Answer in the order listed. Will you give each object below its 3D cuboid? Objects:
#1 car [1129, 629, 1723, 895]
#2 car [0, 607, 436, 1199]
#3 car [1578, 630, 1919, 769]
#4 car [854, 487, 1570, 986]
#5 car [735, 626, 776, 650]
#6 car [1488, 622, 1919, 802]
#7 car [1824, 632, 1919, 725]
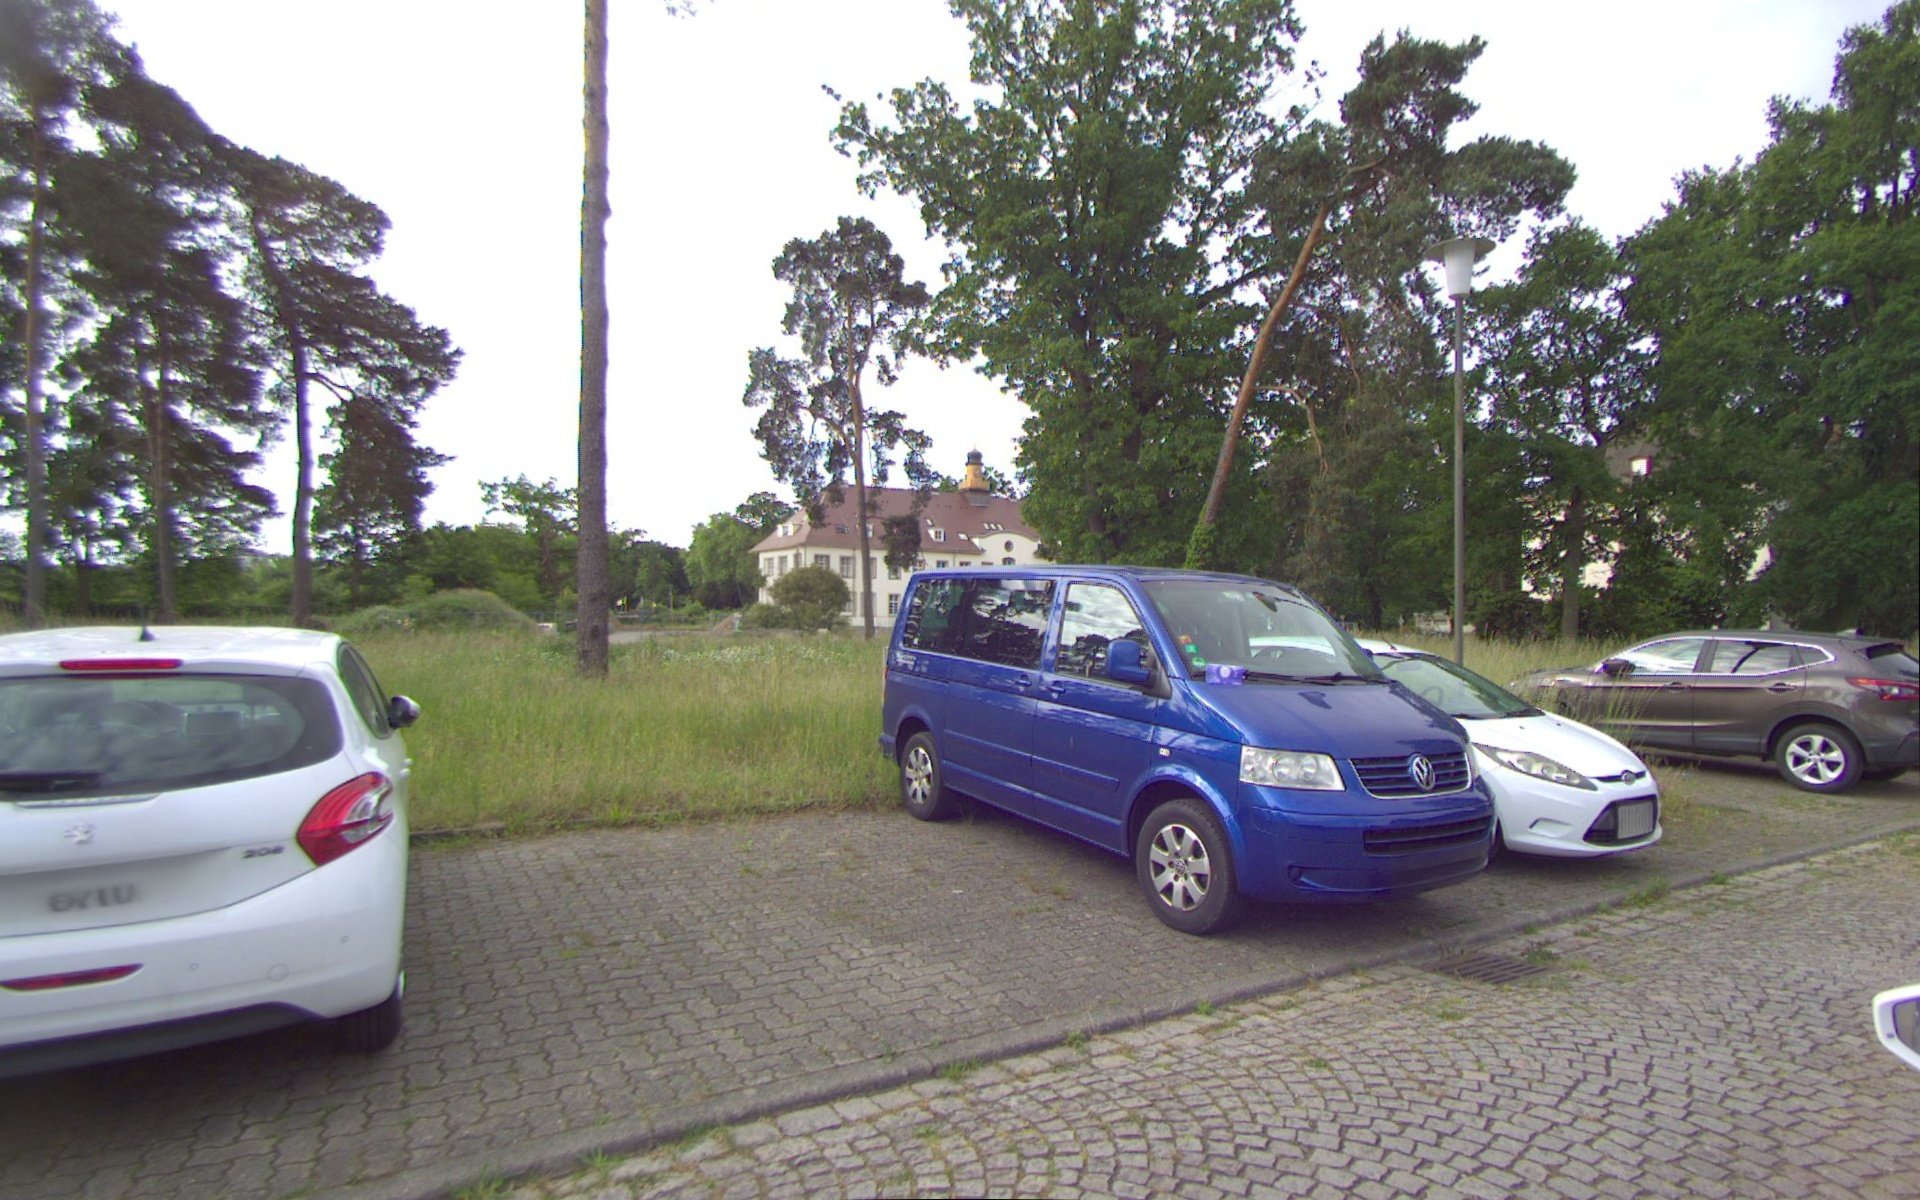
[{"bbox_3d":[3.428,1.032,8.204,1.762,1.530,4.144,1,-1,-32],"label":"car"},{"bbox_3d":[-3.434,0.839,4.520,1.823,1.517,4.050,0,1,-29],"label":"car"},{"bbox_3d":[10.815,1.190,13.273,1.886,1.530,4.145,1,-1,-31],"label":"car"},{"bbox_3d":[1.209,0.641,6.942,2.091,2.150,4.759,1,-1,-30],"label":"car"},{"bbox_3d":[-20.081,3.731,98.309,1.982,2.229,4.985,1,-1,-37],"label":"car"},{"bbox_3d":[8.655,1.100,11.592,1.965,1.644,4.143,1,-1,-32],"label":"car"},{"bbox_3d":[17.427,1.348,16.895,1.883,1.545,4.034,1,-1,-31],"label":"car"}]
